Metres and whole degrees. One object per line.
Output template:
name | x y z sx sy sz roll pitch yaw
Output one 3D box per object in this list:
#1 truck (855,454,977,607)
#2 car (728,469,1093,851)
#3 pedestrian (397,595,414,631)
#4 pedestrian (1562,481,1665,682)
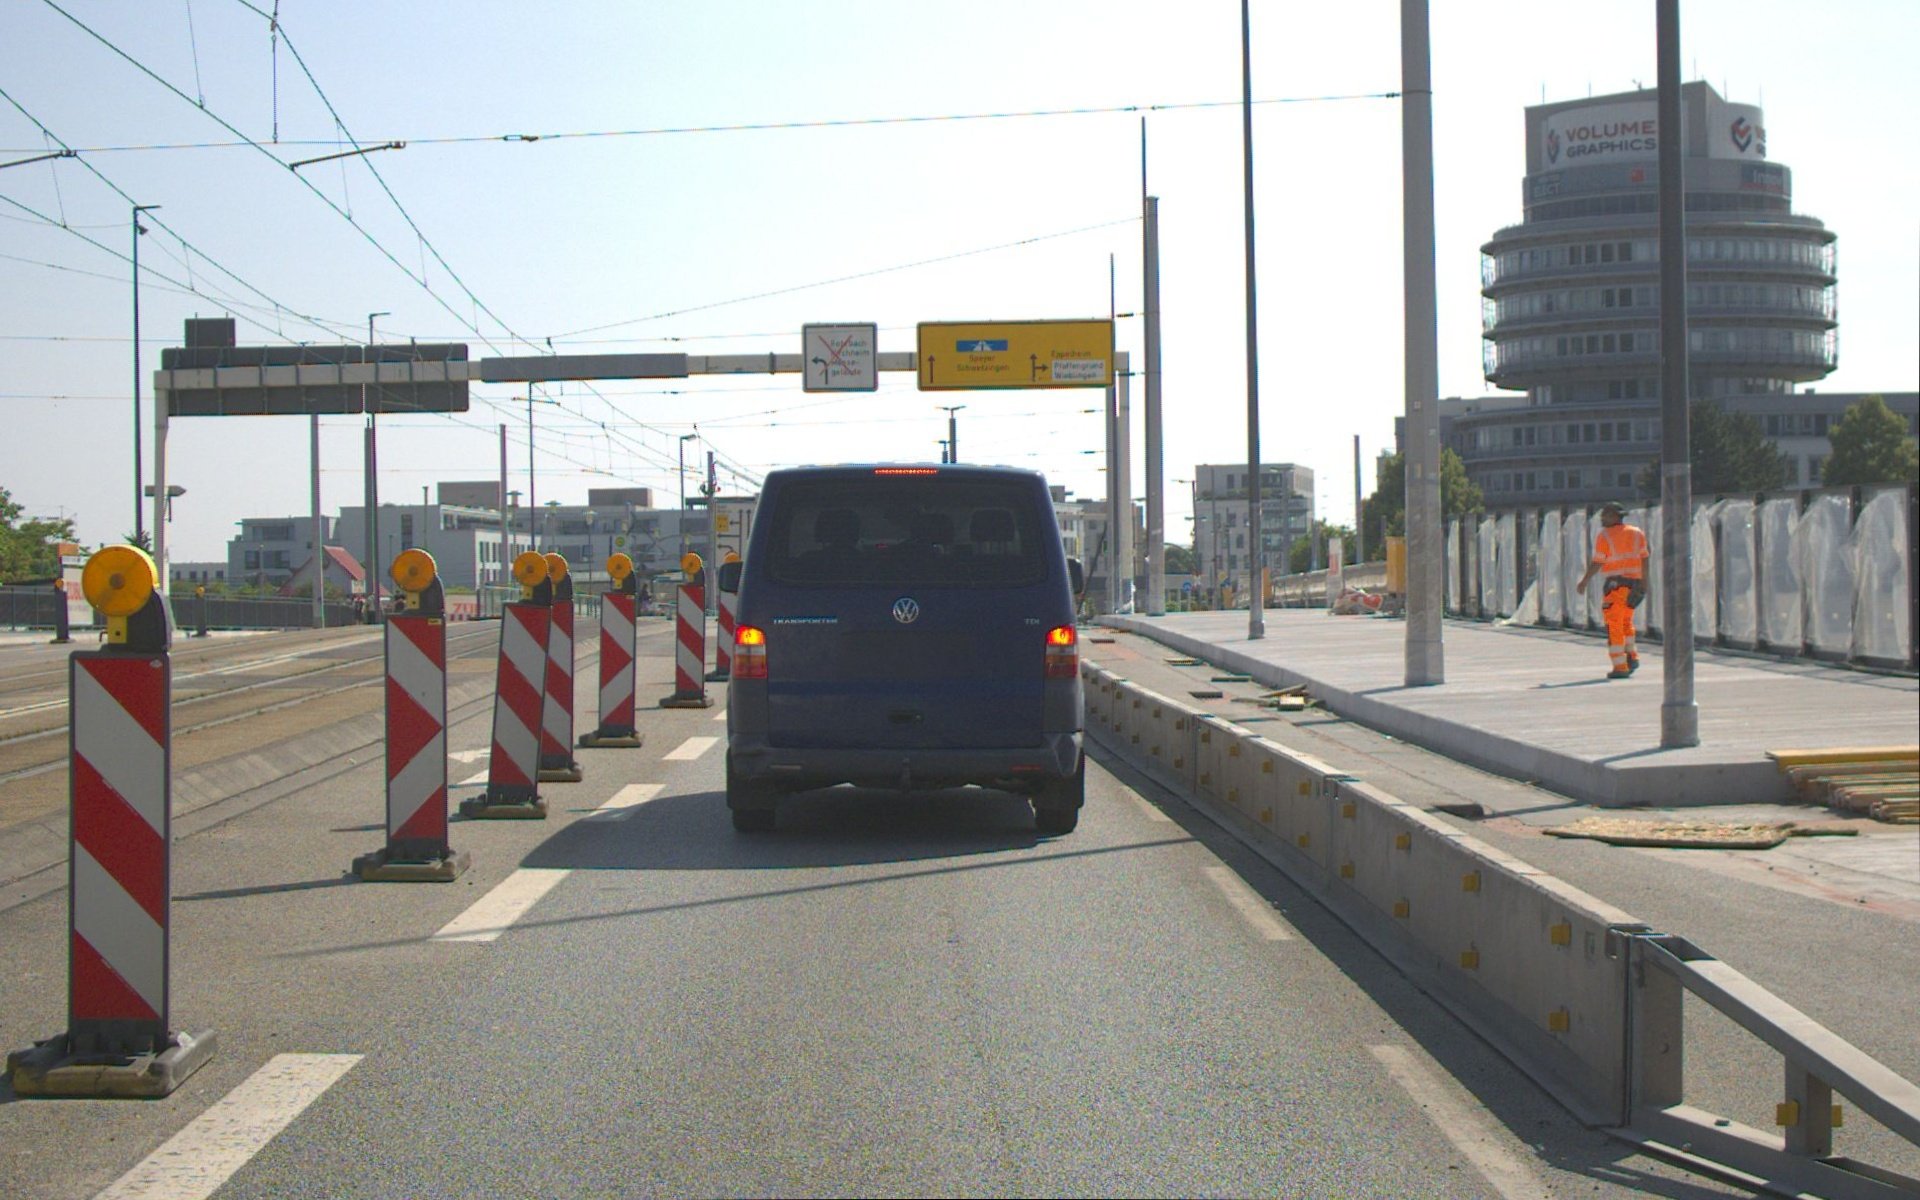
truck | -0.975 -1.585 76.573 2.460 3.124 11.217 -1 2 -1
car | -0.274 0.250 19.318 1.815 1.899 4.055 -1 1 -1
pedestrian | -24.275 0.566 150.497 0.634 1.593 0.752 0 1 -1
pedestrian | 6.444 -0.182 33.924 0.782 1.928 0.799 -2 0 -1
